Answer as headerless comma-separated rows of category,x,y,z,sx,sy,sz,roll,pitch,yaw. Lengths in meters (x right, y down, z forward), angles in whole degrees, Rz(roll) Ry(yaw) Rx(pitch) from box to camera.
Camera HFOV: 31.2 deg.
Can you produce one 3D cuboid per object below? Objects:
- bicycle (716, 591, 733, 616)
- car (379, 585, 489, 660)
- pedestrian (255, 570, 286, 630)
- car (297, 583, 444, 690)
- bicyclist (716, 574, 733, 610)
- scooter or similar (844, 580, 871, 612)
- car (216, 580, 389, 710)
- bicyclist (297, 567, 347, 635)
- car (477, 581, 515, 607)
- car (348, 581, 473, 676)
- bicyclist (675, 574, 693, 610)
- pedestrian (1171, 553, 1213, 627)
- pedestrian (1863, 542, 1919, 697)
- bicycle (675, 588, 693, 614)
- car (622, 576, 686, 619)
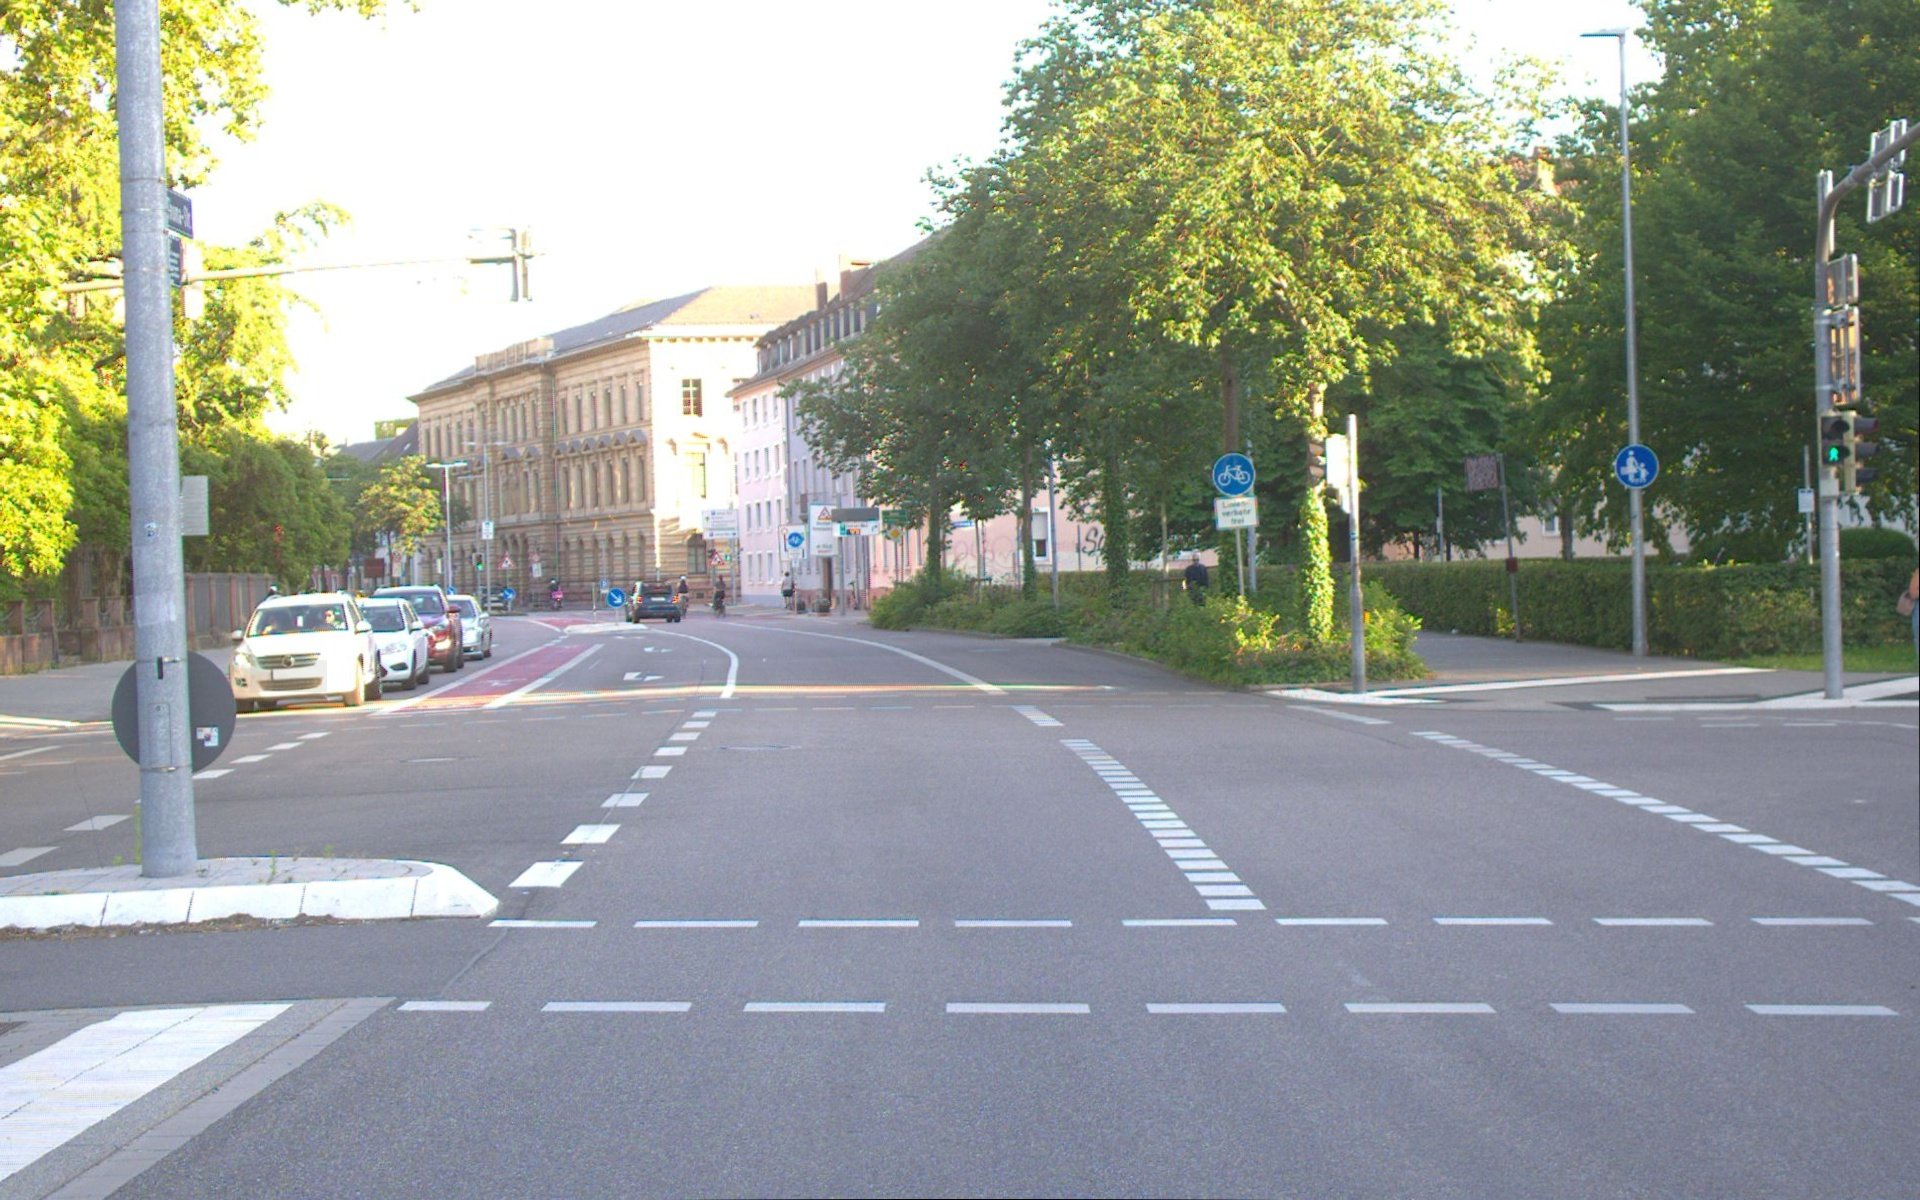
bicycle,-9.592,0.132,140.057,0.652,1.012,2.198,1,0,-3
car,-11.198,0.462,73.401,1.916,1.413,4.771,-4,1,-5
pedestrian,-18.958,-0.002,94.538,0.681,1.617,0.688,-2,0,-1
car,-9.732,0.566,57.082,1.916,1.578,4.675,-4,1,-5
bicyclist,-9.590,-0.333,139.951,0.652,1.470,0.941,1,0,-3
scooter or similar,-4.342,-0.178,145.271,0.629,1.332,2.401,-1,0,-14
car,-9.542,0.609,50.189,1.916,1.690,4.427,-4,1,-5
bicyclist,-13.622,0.019,73.453,0.855,1.426,0.943,-2,0,0
car,-27.770,-0.382,205.749,1.916,1.413,4.771,-4,1,-10
car,-10.432,0.508,65.546,1.916,1.619,4.640,-4,1,-5
bicyclist,-11.231,-0.322,139.881,0.652,1.441,0.879,1,0,-7
pedestrian,5.521,-0.238,81.853,0.769,1.733,0.807,-2,0,-10
pedestrian,10.124,0.195,36.725,0.681,1.617,0.845,-2,1,-1
bicycle,-11.244,0.038,139.913,0.652,1.012,2.198,1,0,-7
car,-11.044,-0.074,123.883,1.867,1.505,4.001,-1,0,-11
